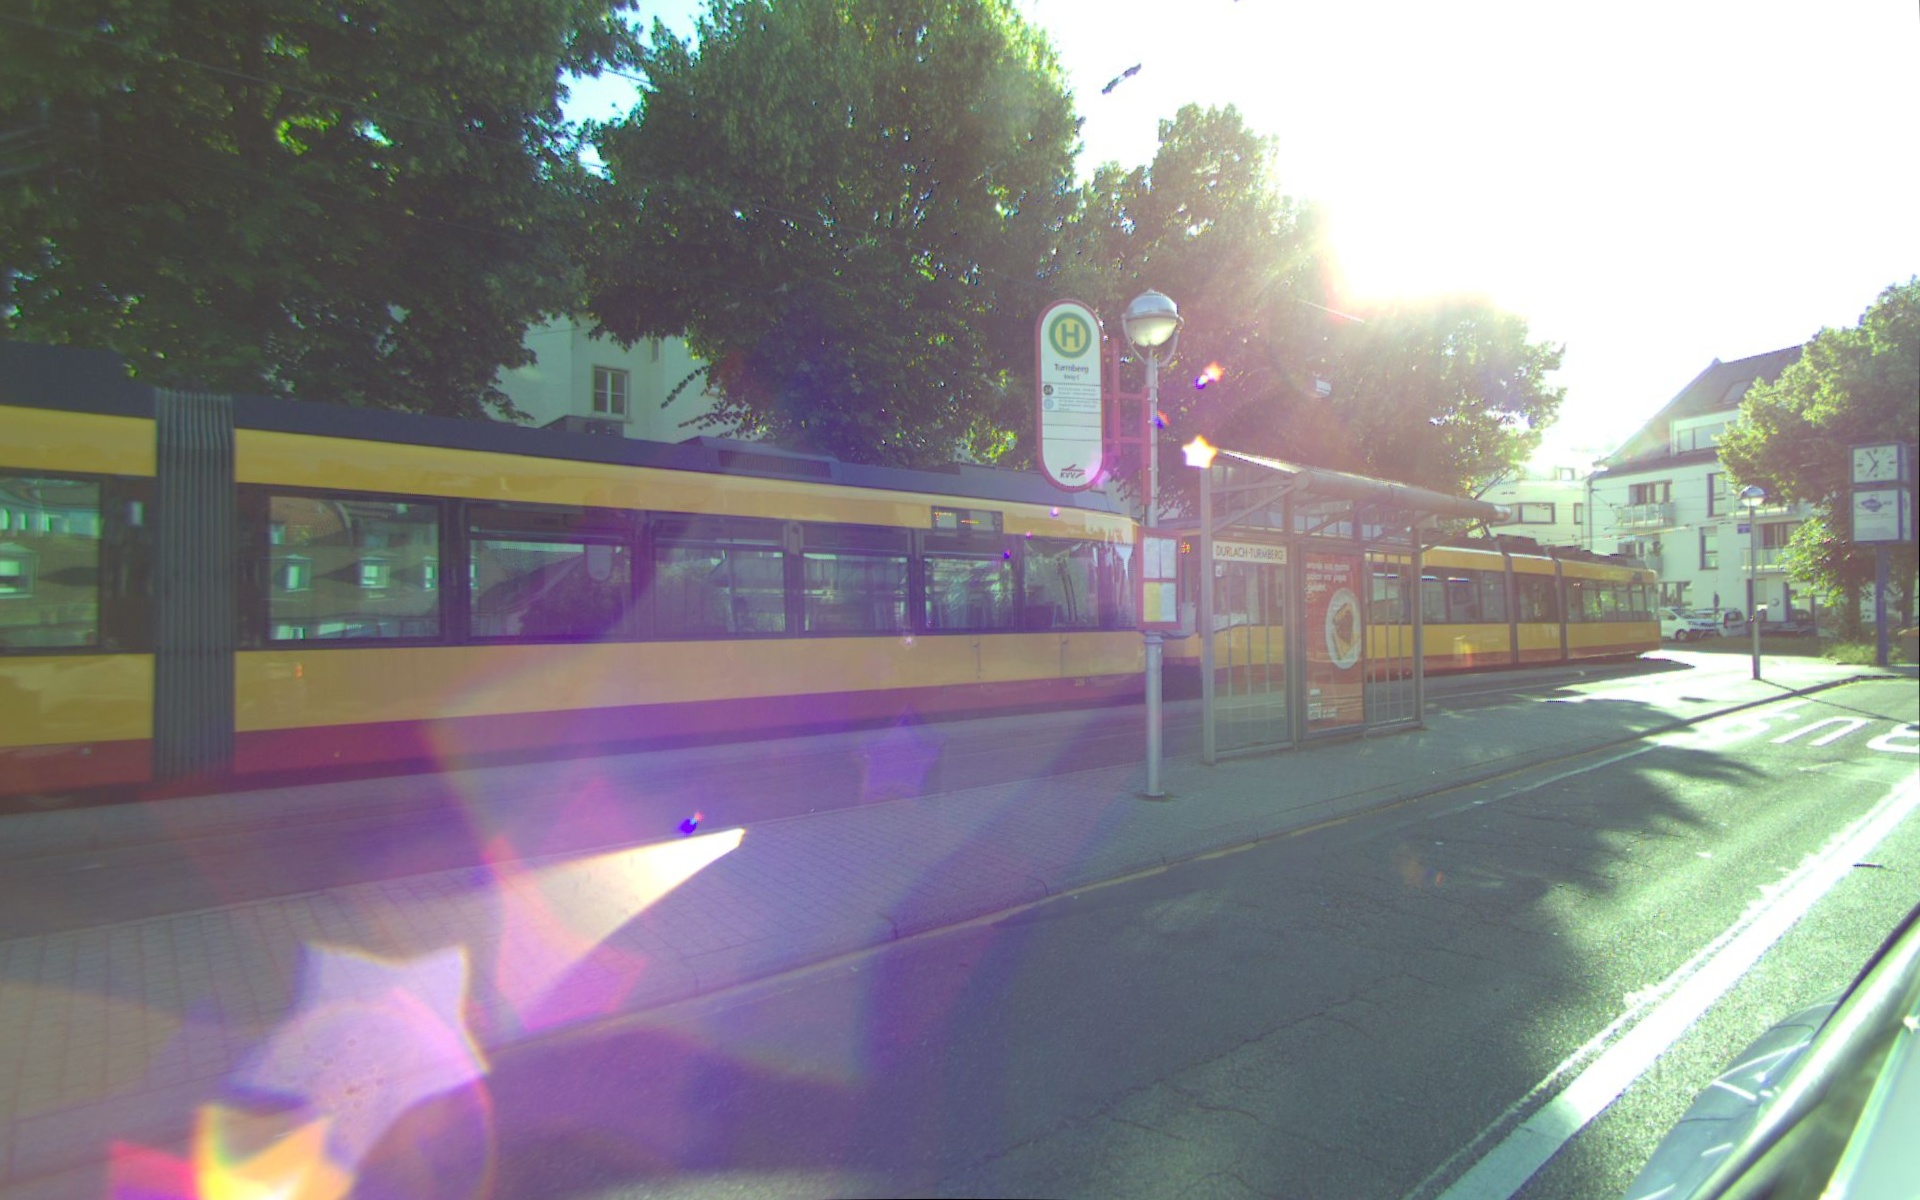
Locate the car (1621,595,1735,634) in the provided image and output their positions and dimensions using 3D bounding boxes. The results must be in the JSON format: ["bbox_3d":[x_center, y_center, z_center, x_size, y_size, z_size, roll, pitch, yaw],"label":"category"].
[{"bbox_3d":[37.878,0.812,53.558,1.833,1.958,4.799,0,-2,-13],"label":"car"}]

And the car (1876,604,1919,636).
[{"bbox_3d":[44.902,0.912,46.360,1.574,1.481,4.211,0,-2,-9],"label":"car"}]

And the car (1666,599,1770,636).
[{"bbox_3d":[42.266,0.940,56.541,1.958,1.981,4.281,0,0,-21],"label":"car"}]

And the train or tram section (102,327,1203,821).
[{"bbox_3d":[-2.138,-0.277,12.784,13.228,3.578,2.962,-1,1,-41],"label":"train or tram section"}]

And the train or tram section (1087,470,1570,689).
[{"bbox_3d":[9.111,-0.263,22.346,15.662,3.465,2.962,1,0,-42],"label":"train or tram section"}]

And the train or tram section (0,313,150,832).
[{"bbox_3d":[-12.913,-0.112,3.525,15.690,3.578,2.962,-1,1,-41],"label":"train or tram section"}]

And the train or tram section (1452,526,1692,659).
[{"bbox_3d":[19.712,-0.141,31.935,13.234,3.465,2.961,1,-1,-43],"label":"train or tram section"}]
